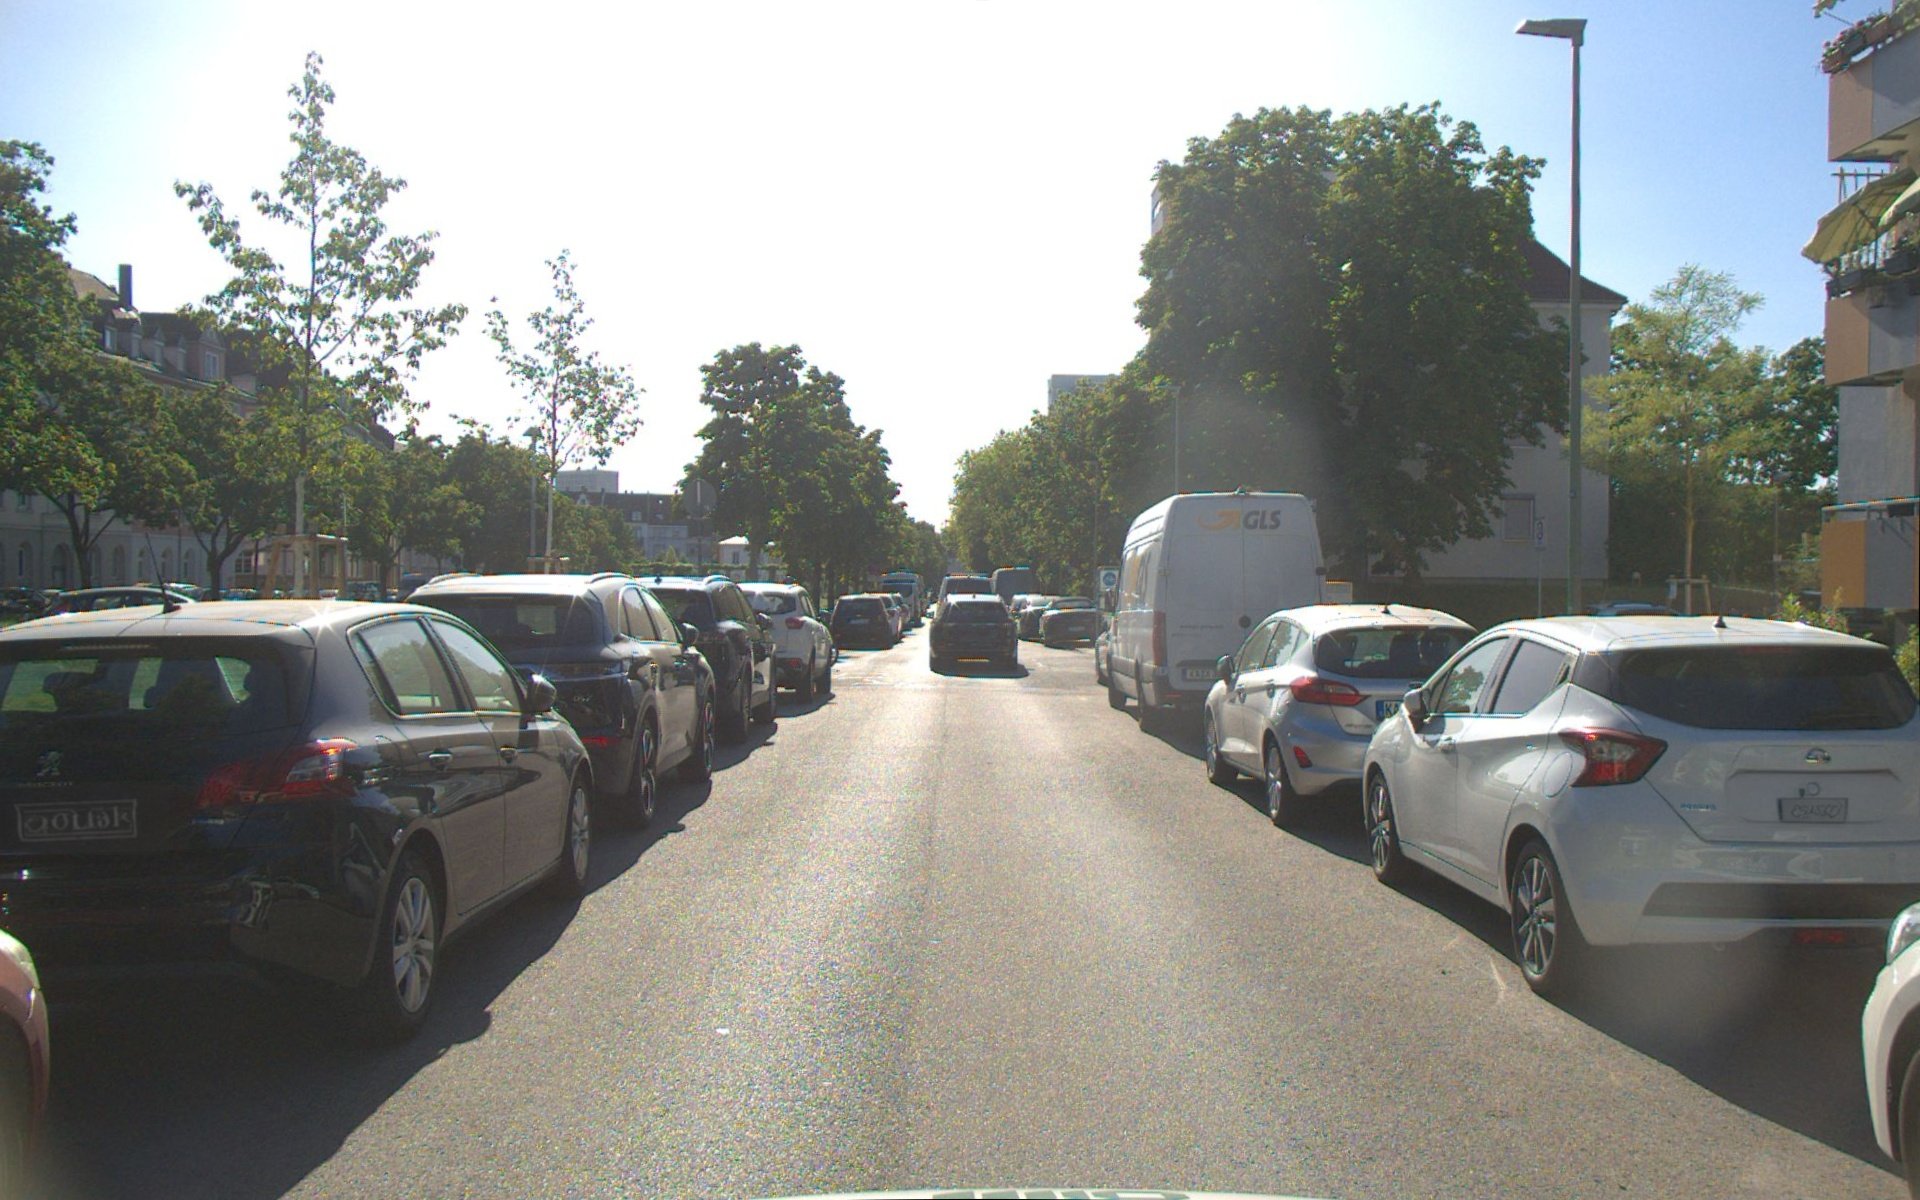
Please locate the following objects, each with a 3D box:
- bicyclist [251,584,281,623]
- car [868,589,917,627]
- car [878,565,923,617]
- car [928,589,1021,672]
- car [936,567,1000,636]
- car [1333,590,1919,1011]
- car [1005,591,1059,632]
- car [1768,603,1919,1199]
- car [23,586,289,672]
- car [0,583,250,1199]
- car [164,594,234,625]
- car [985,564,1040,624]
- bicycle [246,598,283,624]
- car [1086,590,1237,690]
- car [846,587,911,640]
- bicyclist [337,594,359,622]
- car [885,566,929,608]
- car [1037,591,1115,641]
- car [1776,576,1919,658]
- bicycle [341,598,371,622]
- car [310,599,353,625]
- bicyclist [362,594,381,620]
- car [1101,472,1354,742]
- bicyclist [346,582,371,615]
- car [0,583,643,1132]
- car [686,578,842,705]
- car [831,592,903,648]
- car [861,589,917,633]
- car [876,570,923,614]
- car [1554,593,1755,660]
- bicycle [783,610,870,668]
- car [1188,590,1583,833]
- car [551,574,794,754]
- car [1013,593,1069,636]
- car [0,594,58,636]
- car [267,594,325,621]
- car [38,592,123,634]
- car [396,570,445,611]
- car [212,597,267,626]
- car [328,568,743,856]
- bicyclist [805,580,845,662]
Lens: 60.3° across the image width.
[{"bbox_3d":[-34.054,0.183,81.157,0.922,1.869,1.449,0,-1,-2],"label":"bicyclist"},{"bbox_3d":[-2.799,0.294,68.937,1.795,1.526,4.127,0,0,1],"label":"car"},{"bbox_3d":[-2.990,-0.461,83.811,2.055,2.540,4.127,0,0,1],"label":"car"},{"bbox_3d":[0.313,0.569,33.825,1.743,1.558,4.001,1,0,1],"label":"car"},{"bbox_3d":[0.273,0.035,51.334,1.855,2.026,4.011,-1,0,1],"label":"car"},{"bbox_3d":[3.189,0.703,7.998,1.839,1.501,4.140,0,0,0],"label":"car"},{"bbox_3d":[2.707,0.410,62.793,1.743,1.513,4.030,0,0,-2],"label":"car"},{"bbox_3d":[3.142,0.753,2.621,1.686,1.460,4.152,0,0,0],"label":"car"},{"bbox_3d":[-14.711,0.496,30.487,4.278,1.433,1.906,0,2,-25],"label":"car"},{"bbox_3d":[-2.610,0.758,1.830,1.720,1.518,4.666,-1,0,-2],"label":"car"},{"bbox_3d":[-37.609,0.464,81.838,1.659,1.454,3.775,0,0,1],"label":"car"},{"bbox_3d":[2.436,-0.302,77.960,2.120,2.736,5.413,0,0,-3],"label":"car"},{"bbox_3d":[-34.114,0.535,81.189,0.794,1.274,2.633,0,0,-3],"label":"bicycle"},{"bbox_3d":[3.345,0.617,28.309,1.919,1.507,4.498,-1,0,-1],"label":"car"},{"bbox_3d":[-2.487,0.413,51.212,1.740,1.521,3.875,-2,0,1],"label":"car"},{"bbox_3d":[-34.118,0.447,92.141,0.723,1.462,0.942,-7,-1,-1],"label":"bicyclist"},{"bbox_3d":[-3.460,-0.884,109.263,2.563,2.691,6.115,0,0,1],"label":"car"},{"bbox_3d":[3.487,0.443,50.470,2.081,1.361,4.506,-2,0,1],"label":"car"},{"bbox_3d":[20.785,0.365,36.965,4.194,1.761,1.869,0,0,-1],"label":"car"},{"bbox_3d":[-34.531,0.584,94.627,0.794,1.274,2.633,2,-1,-2],"label":"bicycle"},{"bbox_3d":[-37.619,0.716,99.095,1.487,1.465,3.230,0,0,-3],"label":"car"},{"bbox_3d":[-33.077,0.413,92.908,0.723,1.463,0.942,-1,-1,-1],"label":"bicyclist"},{"bbox_3d":[3.080,0.048,20.651,2.098,2.760,6.842,-1,0,1],"label":"car"},{"bbox_3d":[-34.488,-0.086,94.795,0.922,1.869,1.449,-1,-1,-2],"label":"bicyclist"},{"bbox_3d":[-2.666,0.737,6.999,1.835,1.546,4.469,-2,0,-1],"label":"car"},{"bbox_3d":[-2.808,0.548,24.596,1.720,1.676,4.288,-1,0,1],"label":"car"},{"bbox_3d":[-2.573,0.550,46.561,1.712,1.449,3.916,-2,0,1],"label":"car"},{"bbox_3d":[-2.497,0.368,59.141,1.743,1.487,4.127,0,0,1],"label":"car"},{"bbox_3d":[-2.795,-0.373,77.402,2.055,1.976,4.126,0,0,0],"label":"car"},{"bbox_3d":[15.420,0.570,36.826,3.810,1.454,1.657,0,0,-4],"label":"car"},{"bbox_3d":[-2.661,0.771,33.123,1.725,1.147,0.662,0,0,-4],"label":"bicycle"},{"bbox_3d":[3.016,0.707,12.682,1.811,1.491,4.200,1,1,-2],"label":"car"},{"bbox_3d":[-2.974,0.598,18.114,1.805,1.667,4.715,-1,0,0],"label":"car"},{"bbox_3d":[2.730,0.456,56.420,1.743,1.395,4.127,0,0,1],"label":"car"},{"bbox_3d":[-37.429,0.562,64.955,1.721,1.576,4.526,0,0,-3],"label":"car"},{"bbox_3d":[-37.916,0.409,94.575,1.808,1.465,3.774,0,0,0],"label":"car"},{"bbox_3d":[-37.453,0.529,70.507,1.599,1.716,4.079,0,0,-3],"label":"car"},{"bbox_3d":[-38.221,-0.667,117.305,1.877,2.792,5.622,0,0,-3],"label":"car"},{"bbox_3d":[-37.664,0.573,86.525,1.352,1.465,3.342,0,0,1],"label":"car"},{"bbox_3d":[-2.788,0.635,12.028,1.782,1.638,4.738,-1,0,0],"label":"car"},{"bbox_3d":[-2.696,0.418,33.118,0.773,1.624,0.696,0,0,-3],"label":"bicyclist"}]
